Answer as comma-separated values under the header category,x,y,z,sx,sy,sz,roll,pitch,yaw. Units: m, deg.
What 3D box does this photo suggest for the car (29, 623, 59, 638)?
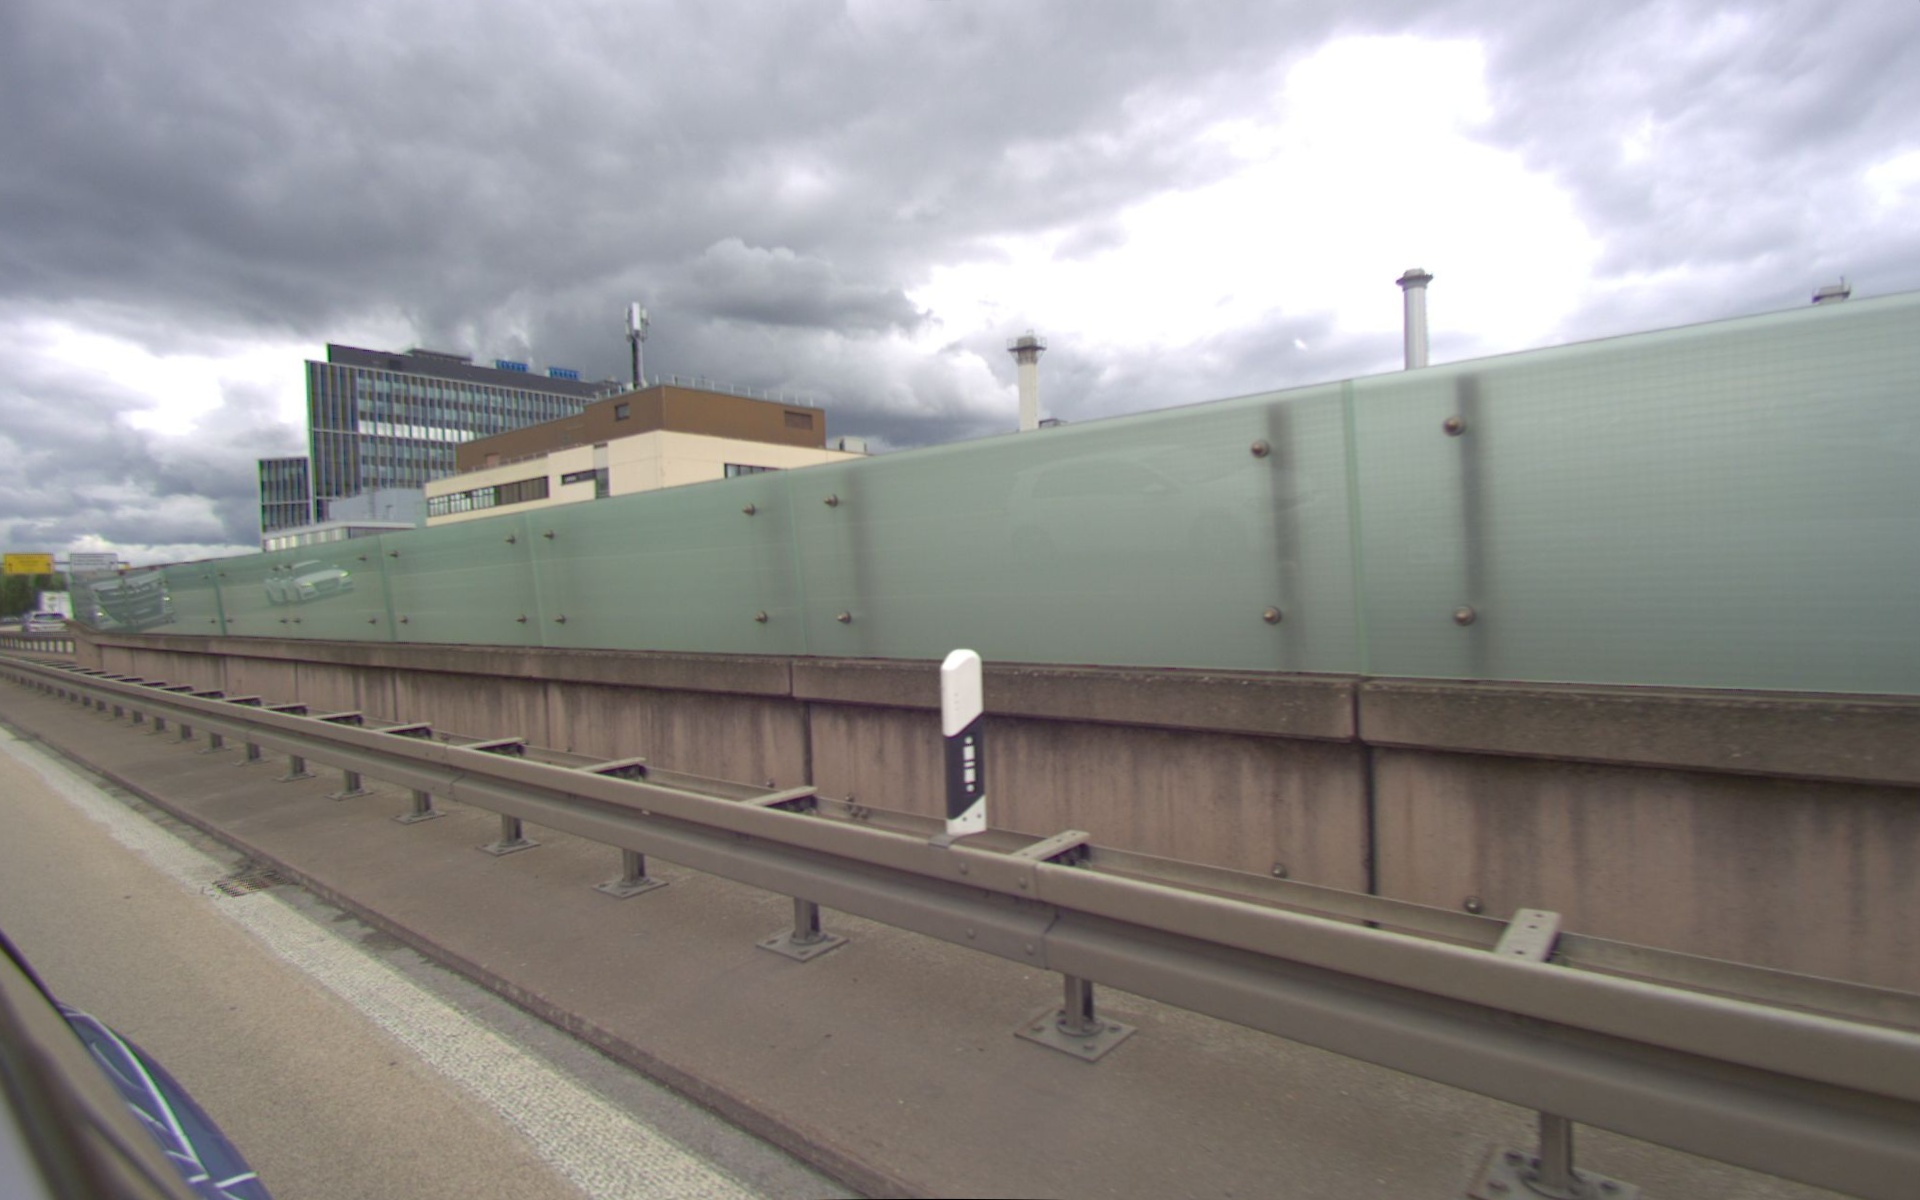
category,x,y,z,sx,sy,sz,roll,pitch,yaw
car,-110.815,3.679,122.395,4.810,1.623,2.002,-1,0,40

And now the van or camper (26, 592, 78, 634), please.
category,x,y,z,sx,sy,sz,roll,pitch,yaw
van or camper,-76.785,1.135,85.522,6.951,3.413,2.380,-1,0,41

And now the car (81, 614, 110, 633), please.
category,x,y,z,sx,sy,sz,roll,pitch,yaw
car,-81.761,2.221,95.727,4.371,1.761,1.735,-2,-1,45

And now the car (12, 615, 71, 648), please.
category,x,y,z,sx,sy,sz,roll,pitch,yaw
car,-50.150,1.707,55.250,4.404,1.685,1.826,-2,-1,40
